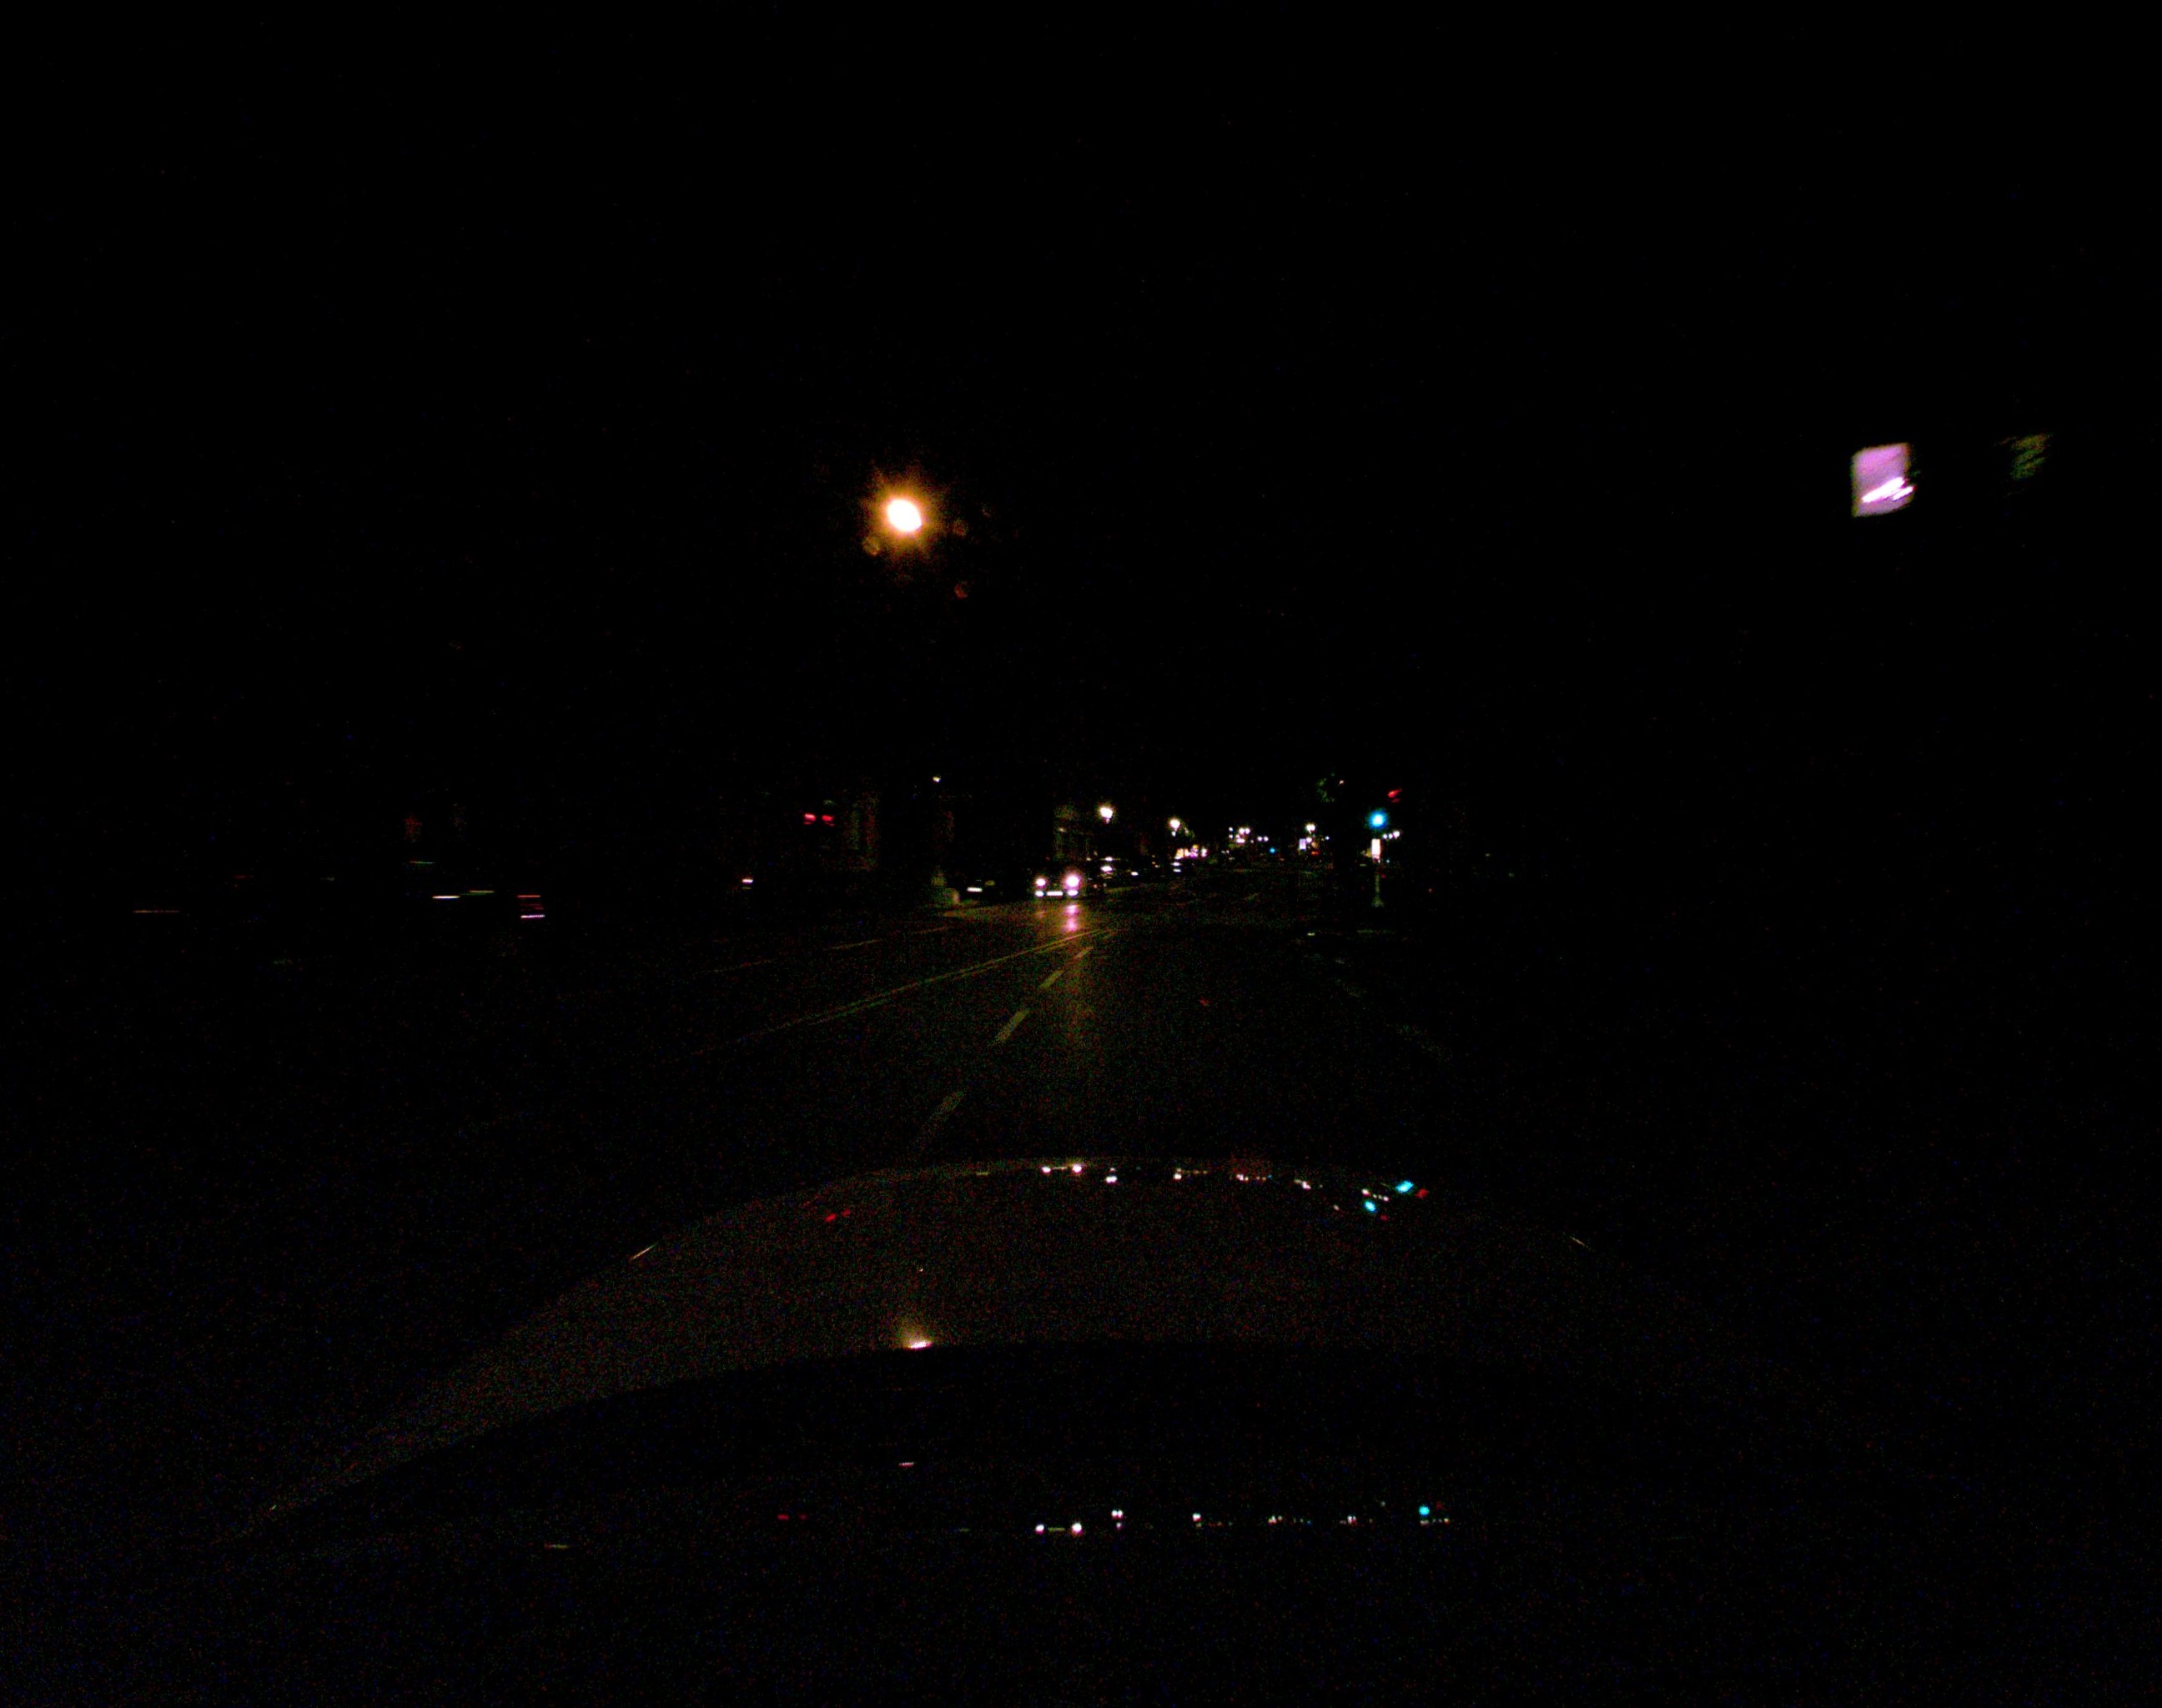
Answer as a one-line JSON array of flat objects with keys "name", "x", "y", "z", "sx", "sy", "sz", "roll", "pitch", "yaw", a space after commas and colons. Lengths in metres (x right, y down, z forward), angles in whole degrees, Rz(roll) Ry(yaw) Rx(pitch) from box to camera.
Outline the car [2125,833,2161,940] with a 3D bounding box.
[{"name": "car", "x": 18.812, "y": 0.487, "z": 11.917, "sx": 3.956, "sy": 1.693, "sz": 1.875, "roll": 0, "pitch": -4, "yaw": 16}]

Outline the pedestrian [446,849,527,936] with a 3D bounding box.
[{"name": "pedestrian", "x": -12.064, "y": 0.753, "z": 16.539, "sx": 0.703, "sy": 1.690, "sz": 1.131, "roll": -1, "pitch": 0, "yaw": 28}]

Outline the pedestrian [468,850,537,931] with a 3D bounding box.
[{"name": "pedestrian", "x": -12.473, "y": 0.756, "z": 17.587, "sx": 0.703, "sy": 1.690, "sz": 1.004, "roll": -1, "pitch": -1, "yaw": 28}]

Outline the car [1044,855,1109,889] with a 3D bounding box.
[{"name": "car", "x": -0.159, "y": 0.837, "z": 39.974, "sx": 1.770, "sy": 1.491, "sz": 4.351, "roll": 3, "pitch": 1, "yaw": 20}]

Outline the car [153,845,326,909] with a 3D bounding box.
[{"name": "car", "x": -24.964, "y": 0.655, "z": 24.198, "sx": 3.956, "sy": 1.776, "sz": 1.909, "roll": 0, "pitch": 0, "yaw": 16}]

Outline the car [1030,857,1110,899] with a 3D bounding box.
[{"name": "car", "x": -0.326, "y": 0.854, "z": 30.308, "sx": 1.701, "sy": 1.429, "sz": 4.019, "roll": -2, "pitch": -1, "yaw": 18}]

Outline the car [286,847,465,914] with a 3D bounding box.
[{"name": "car", "x": -19.695, "y": 0.700, "z": 22.772, "sx": 3.956, "sy": 1.776, "sz": 1.909, "roll": 0, "pitch": 0, "yaw": 16}]

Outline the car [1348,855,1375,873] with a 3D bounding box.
[{"name": "car", "x": 23.754, "y": 0.811, "z": 69.118, "sx": 1.721, "sy": 1.459, "sz": 4.745, "roll": 1, "pitch": 0, "yaw": 14}]

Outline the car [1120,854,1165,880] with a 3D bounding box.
[{"name": "car", "x": 4.031, "y": 0.812, "z": 53.014, "sx": 1.770, "sy": 1.581, "sz": 4.432, "roll": 3, "pitch": 1, "yaw": 19}]

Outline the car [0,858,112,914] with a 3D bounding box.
[{"name": "car", "x": -34.944, "y": 1.007, "z": 27.158, "sx": 3.956, "sy": 1.776, "sz": 1.909, "roll": 0, "pitch": 0, "yaw": 16}]

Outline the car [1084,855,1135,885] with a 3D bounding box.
[{"name": "car", "x": 1.629, "y": 0.851, "z": 45.063, "sx": 1.771, "sy": 1.491, "sz": 4.017, "roll": 3, "pitch": 1, "yaw": 16}]

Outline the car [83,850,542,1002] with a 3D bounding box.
[{"name": "car", "x": -9.920, "y": 0.782, "z": 10.987, "sx": 1.870, "sy": 1.596, "sz": 4.043, "roll": 2, "pitch": 0, "yaw": 19}]

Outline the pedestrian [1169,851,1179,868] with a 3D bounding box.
[{"name": "pedestrian", "x": 10.290, "y": 0.615, "z": 90.198, "sx": 0.728, "sy": 1.822, "sz": 0.686, "roll": 2, "pitch": -1, "yaw": -29}]

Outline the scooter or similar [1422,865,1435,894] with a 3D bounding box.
[{"name": "scooter or similar", "x": 14.043, "y": 1.001, "z": 32.873, "sx": 0.418, "sy": 1.130, "sz": 1.502, "roll": -1, "pitch": 0, "yaw": 25}]

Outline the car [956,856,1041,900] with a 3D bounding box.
[{"name": "car", "x": -3.083, "y": 0.853, "z": 31.138, "sx": 1.579, "sy": 1.491, "sz": 3.719, "roll": 3, "pitch": 1, "yaw": 22}]

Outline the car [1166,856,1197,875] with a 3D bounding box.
[{"name": "car", "x": 8.071, "y": 0.899, "z": 64.907, "sx": 1.771, "sy": 1.415, "sz": 4.144, "roll": 2, "pitch": 1, "yaw": 16}]
